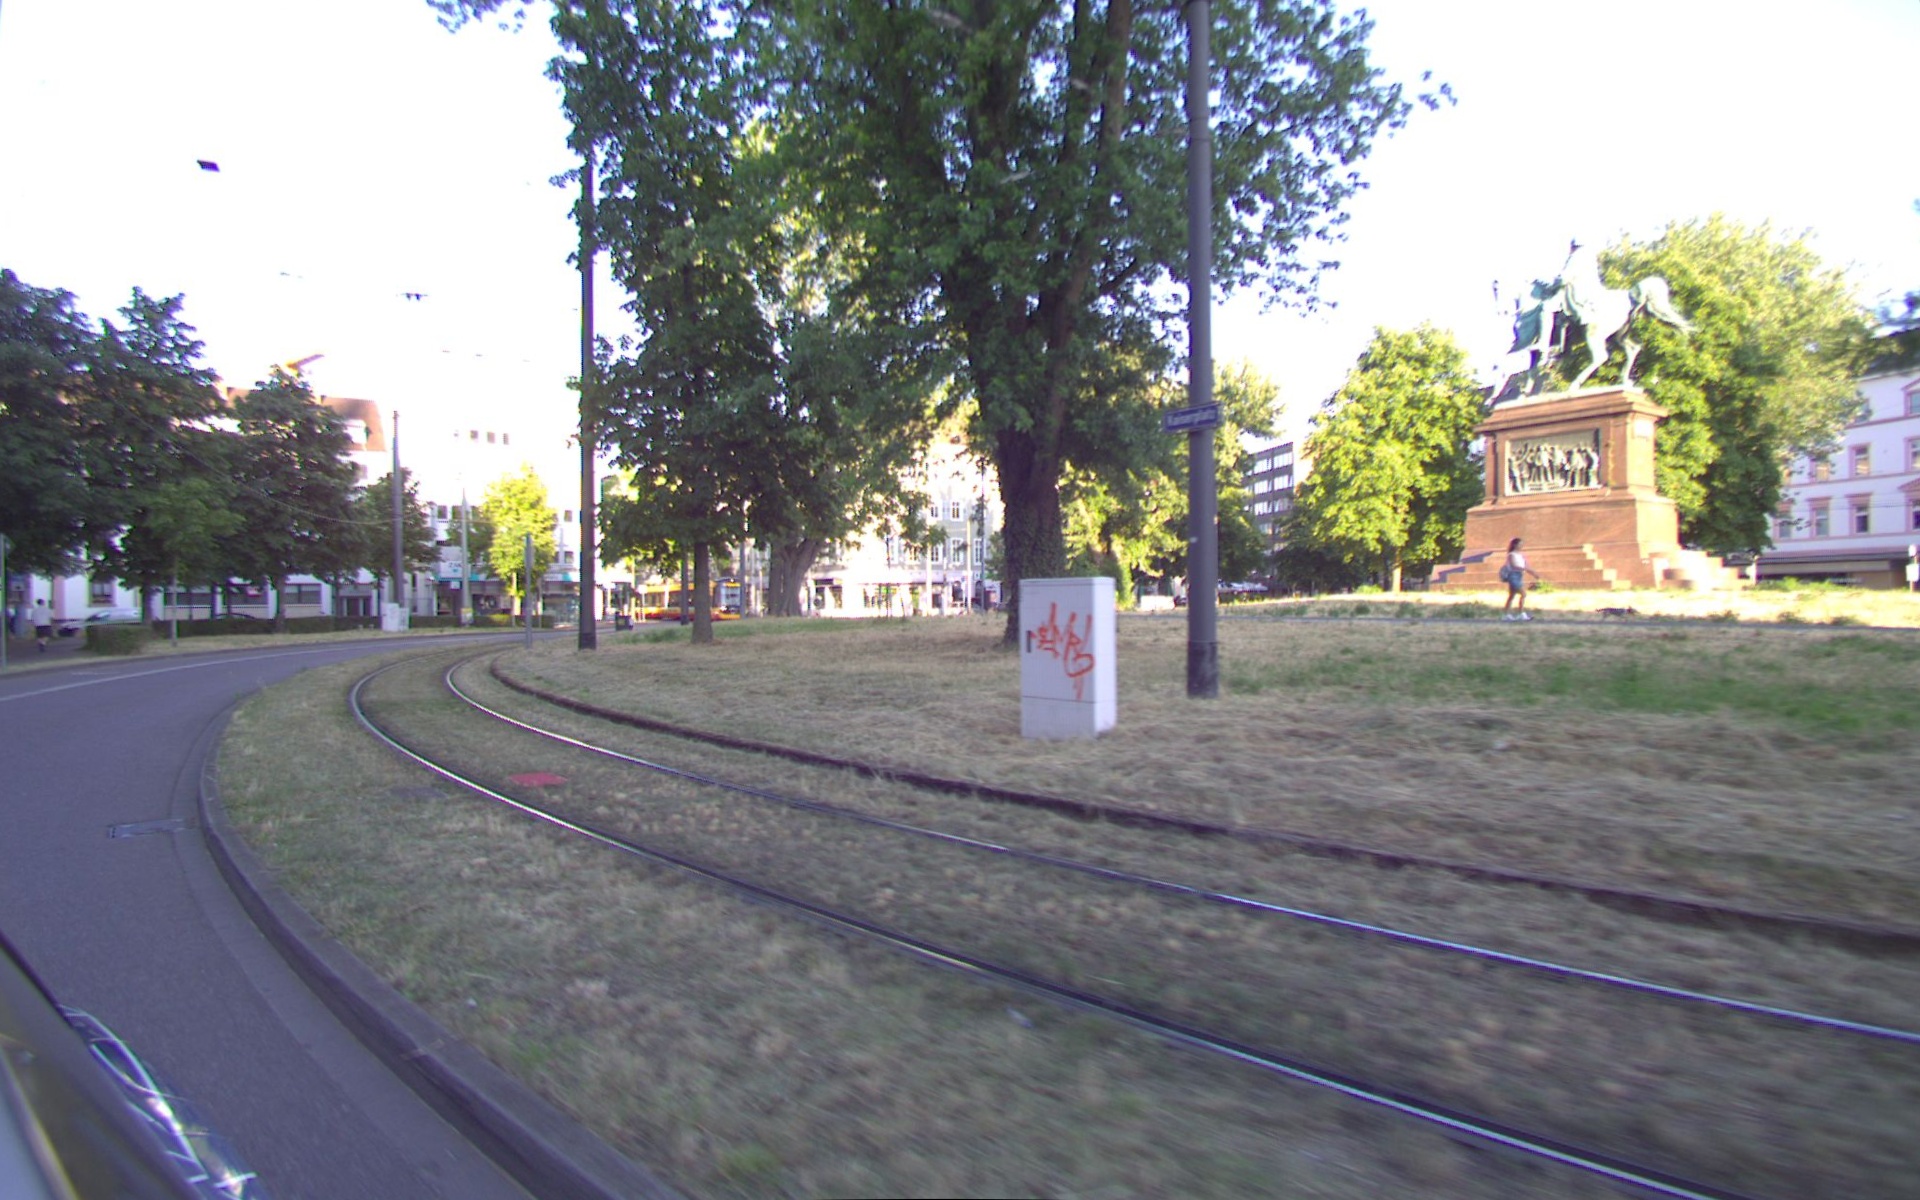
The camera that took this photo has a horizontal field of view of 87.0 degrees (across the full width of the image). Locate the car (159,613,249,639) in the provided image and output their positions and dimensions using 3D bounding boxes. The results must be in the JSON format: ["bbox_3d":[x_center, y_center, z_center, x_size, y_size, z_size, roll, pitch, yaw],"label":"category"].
[{"bbox_3d":[-45.215,1.546,60.609,4.252,1.421,1.811,0,1,-36],"label":"car"}]

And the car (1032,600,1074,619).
[{"bbox_3d":[9.440,0.958,102.702,3.936,1.918,2.004,0,-2,-38],"label":"car"}]

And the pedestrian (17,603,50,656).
[{"bbox_3d":[-30.864,0.991,33.727,0.786,1.729,0.758,-3,-2,44],"label":"pedestrian"}]

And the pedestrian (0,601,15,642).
[{"bbox_3d":[-47.493,1.083,49.917,0.817,2.029,1.010,-1,-1,-5],"label":"pedestrian"}]

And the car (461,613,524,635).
[{"bbox_3d":[-34.216,1.736,74.076,3.934,1.461,1.853,-1,-1,-36],"label":"car"}]

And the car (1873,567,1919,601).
[{"bbox_3d":[57.083,-0.970,59.924,1.731,1.959,4.219,-1,-1,-12],"label":"car"}]

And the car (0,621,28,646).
[{"bbox_3d":[-53.242,1.848,54.914,3.721,1.346,1.732,0,-2,-36],"label":"car"}]

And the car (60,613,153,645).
[{"bbox_3d":[-48.855,1.676,58.047,3.948,1.738,1.705,0,-2,-36],"label":"car"}]

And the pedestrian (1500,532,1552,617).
[{"bbox_3d":[11.511,-0.503,20.584,0.835,1.703,0.470,-1,-1,41],"label":"pedestrian"}]

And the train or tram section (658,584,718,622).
[{"bbox_3d":[-25.036,0.264,92.481,2.881,3.165,12.899,-1,0,-26],"label":"train or tram section"}]

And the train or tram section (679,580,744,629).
[{"bbox_3d":[-19.992,0.317,80.730,2.899,3.611,13.411,-1,0,-23],"label":"train or tram section"}]

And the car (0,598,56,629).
[{"bbox_3d":[-55.888,0.812,59.469,3.947,1.738,1.706,0,-2,-35],"label":"car"}]
